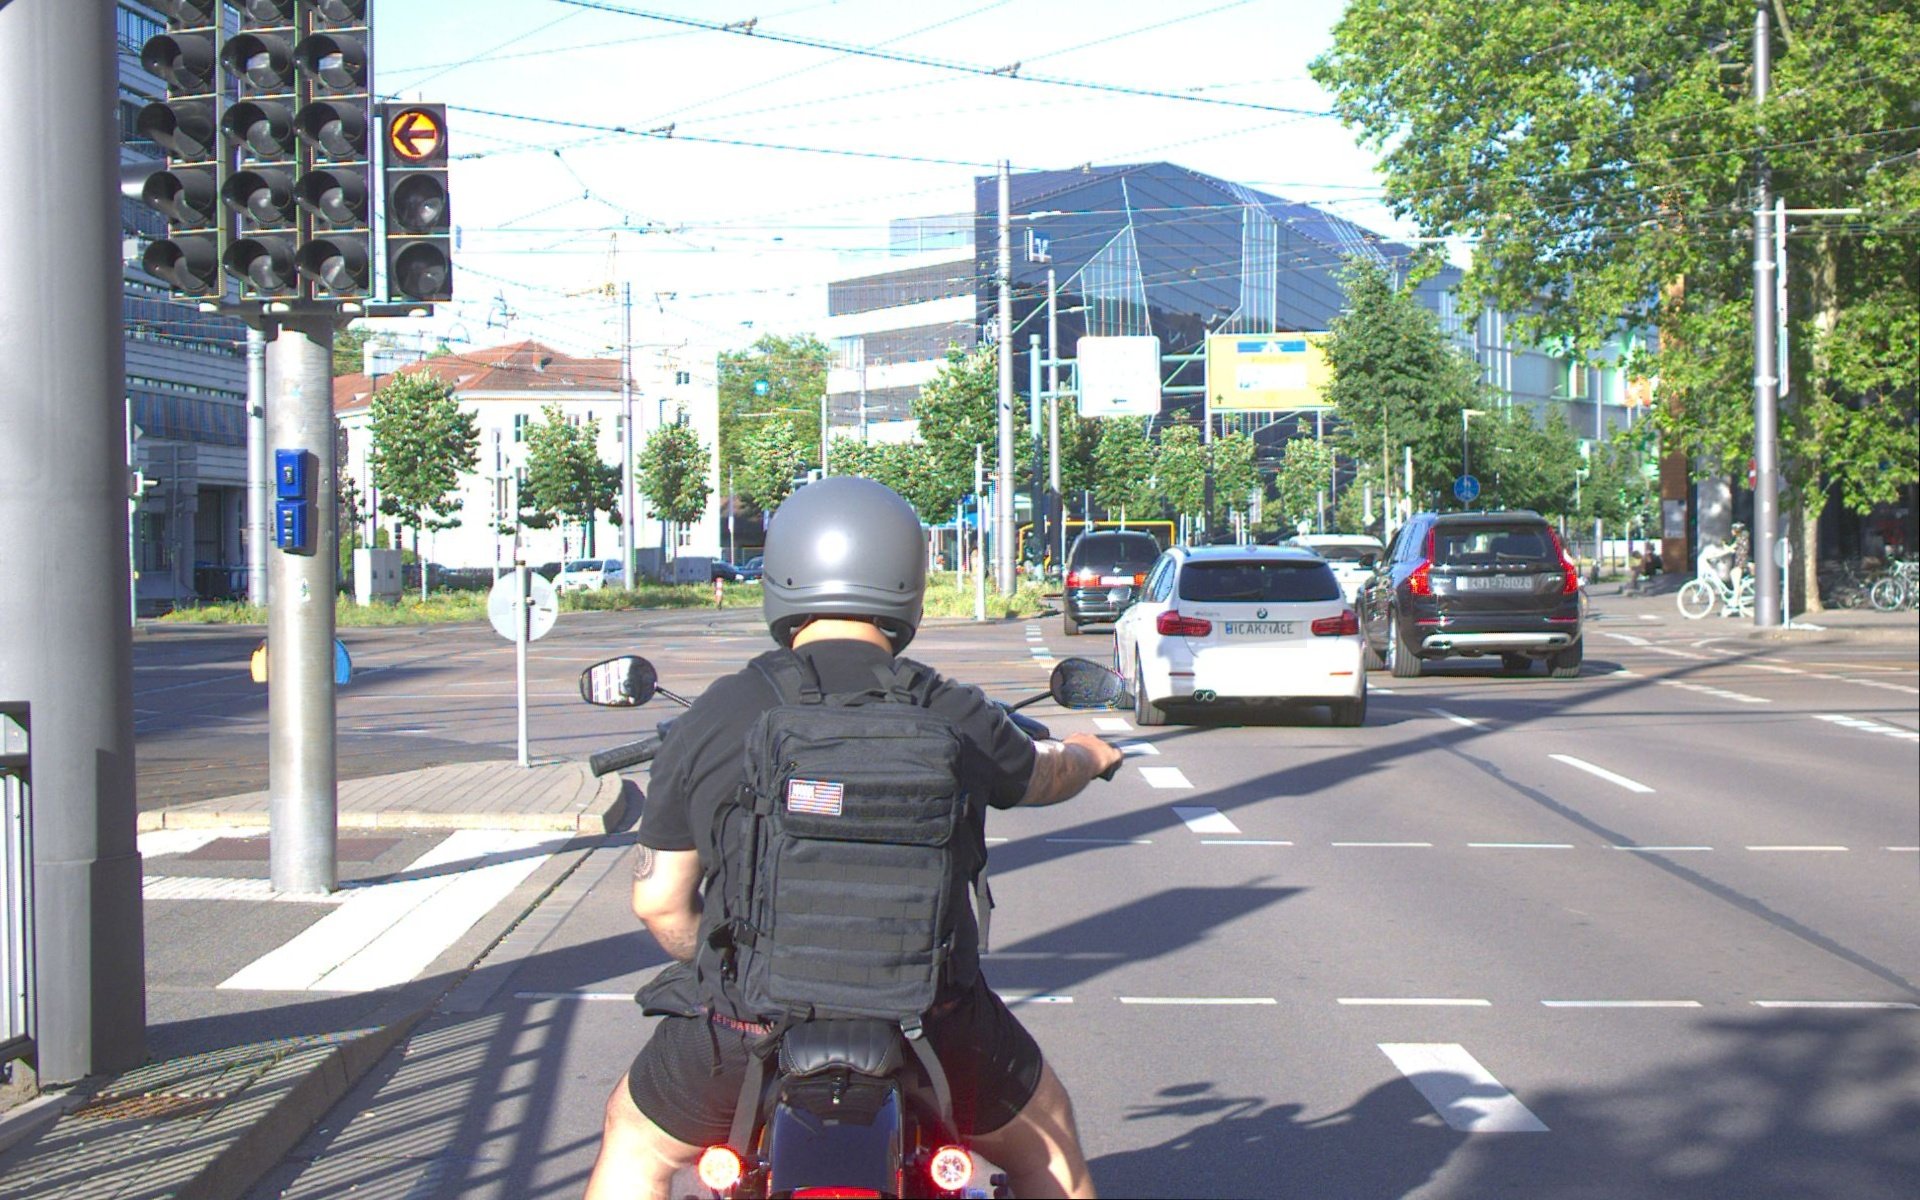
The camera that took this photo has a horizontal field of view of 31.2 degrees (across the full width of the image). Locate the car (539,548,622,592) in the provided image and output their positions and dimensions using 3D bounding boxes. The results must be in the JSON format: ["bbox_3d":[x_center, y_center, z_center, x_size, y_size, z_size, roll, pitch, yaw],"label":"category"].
[{"bbox_3d":[-13.077,-1.041,118.702,1.826,1.425,4.529,0,1,7],"label":"car"}]

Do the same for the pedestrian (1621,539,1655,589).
[{"bbox_3d":[17.896,-0.940,90.778,0.819,1.309,0.637,1,0,9],"label":"pedestrian"}]

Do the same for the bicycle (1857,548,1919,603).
[{"bbox_3d":[18.356,-0.468,66.507,1.880,1.043,0.360,1,0,-1],"label":"bicycle"}]

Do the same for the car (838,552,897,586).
[{"bbox_3d":[-4.265,-1.403,158.648,1.750,1.519,3.997,1,0,13],"label":"car"}]

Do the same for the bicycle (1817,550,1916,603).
[{"bbox_3d":[18.315,-0.479,69.496,1.880,1.043,0.360,1,1,-1],"label":"bicycle"}]

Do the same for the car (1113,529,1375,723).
[{"bbox_3d":[2.264,0.187,28.406,1.731,1.452,4.418,1,0,-1],"label":"car"}]

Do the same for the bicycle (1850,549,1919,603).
[{"bbox_3d":[18.420,-0.459,67.322,1.880,1.043,0.360,1,0,-1],"label":"bicycle"}]

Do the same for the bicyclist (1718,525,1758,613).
[{"bbox_3d":[14.752,-0.585,65.175,0.688,1.667,0.540,0,0,19],"label":"bicyclist"}]

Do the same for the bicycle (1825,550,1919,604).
[{"bbox_3d":[18.347,-0.470,68.996,1.880,1.043,0.360,1,1,-1],"label":"bicycle"}]

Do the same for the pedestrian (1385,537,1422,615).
[{"bbox_3d":[8.849,-0.480,68.611,0.587,1.551,0.489,1,0,-8],"label":"pedestrian"}]

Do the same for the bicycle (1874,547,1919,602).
[{"bbox_3d":[18.463,-0.474,65.726,1.880,1.043,0.360,1,0,-1],"label":"bicycle"}]

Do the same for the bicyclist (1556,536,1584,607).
[{"bbox_3d":[11.702,-0.546,65.991,0.344,1.368,0.382,1,0,-36],"label":"bicyclist"}]

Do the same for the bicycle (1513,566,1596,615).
[{"bbox_3d":[11.461,-0.192,66.305,0.356,0.922,1.831,1,0,-36],"label":"bicycle"}]

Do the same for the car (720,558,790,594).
[{"bbox_3d":[-8.317,-0.974,140.005,1.826,1.426,4.239,1,0,11],"label":"car"}]

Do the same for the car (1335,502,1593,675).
[{"bbox_3d":[5.338,-0.181,36.997,1.731,1.726,4.613,1,2,-5],"label":"car"}]

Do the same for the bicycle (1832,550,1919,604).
[{"bbox_3d":[18.364,-0.454,68.511,1.880,1.043,0.360,1,0,-1],"label":"bicycle"}]

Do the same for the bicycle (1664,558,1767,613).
[{"bbox_3d":[14.348,-0.270,65.309,1.872,1.040,0.536,0,0,19],"label":"bicycle"}]

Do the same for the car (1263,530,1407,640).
[{"bbox_3d":[5.738,-0.262,52.990,1.731,1.593,4.041,1,1,0],"label":"car"}]

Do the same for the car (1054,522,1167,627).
[{"bbox_3d":[2.520,-0.426,57.783,1.803,1.672,4.040,1,0,2],"label":"car"}]

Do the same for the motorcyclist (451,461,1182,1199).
[{"bbox_3d":[-0.206,0.591,5.321,1.030,1.588,0.873,0,1,-1],"label":"motorcyclist"}]

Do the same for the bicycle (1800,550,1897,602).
[{"bbox_3d":[18.260,-0.495,70.646,1.880,1.043,0.360,1,1,-1],"label":"bicycle"}]

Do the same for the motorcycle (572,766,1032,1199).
[{"bbox_3d":[-0.226,0.870,5.648,0.600,1.032,2.234,1,1,-1],"label":"motorcycle"}]
